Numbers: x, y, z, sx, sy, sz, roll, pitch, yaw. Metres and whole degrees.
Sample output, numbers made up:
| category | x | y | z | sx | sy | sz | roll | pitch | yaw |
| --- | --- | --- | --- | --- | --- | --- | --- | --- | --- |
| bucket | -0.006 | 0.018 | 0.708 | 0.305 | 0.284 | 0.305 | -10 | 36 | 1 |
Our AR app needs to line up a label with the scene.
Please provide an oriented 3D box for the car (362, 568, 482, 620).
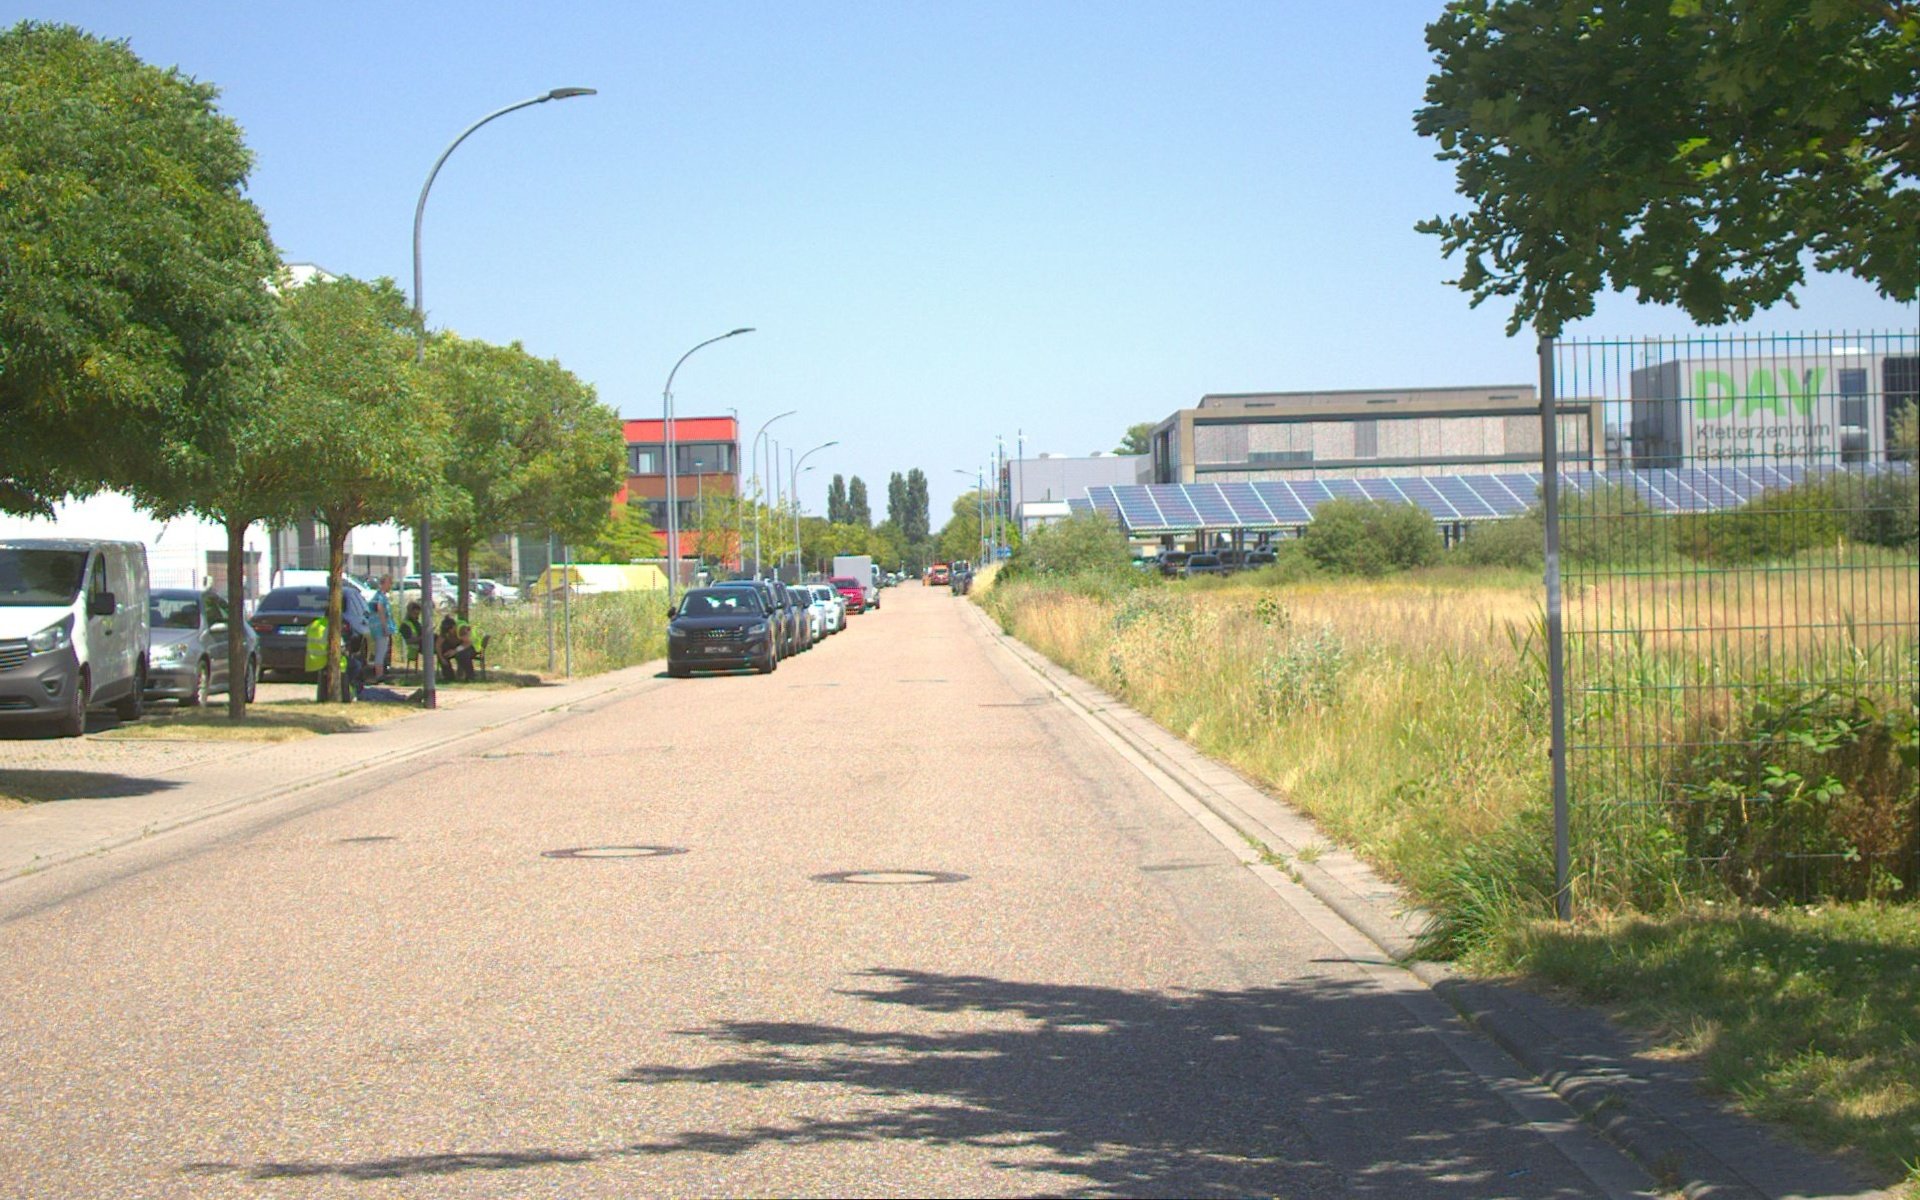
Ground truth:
| category | x | y | z | sx | sy | sz | roll | pitch | yaw |
| --- | --- | --- | --- | --- | --- | --- | --- | --- | --- |
| car | -21.997 | -0.262 | 140.714 | 4.528 | 1.936 | 2.031 | -2 | 0 | 0 |

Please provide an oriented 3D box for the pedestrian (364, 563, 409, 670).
| category | x | y | z | sx | sy | sz | roll | pitch | yaw |
| --- | --- | --- | --- | --- | --- | --- | --- | --- | --- |
| pedestrian | -8.663 | 0.247 | 51.931 | 0.506 | 1.590 | 0.753 | 1 | 0 | 2 |

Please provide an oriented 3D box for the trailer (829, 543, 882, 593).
| category | x | y | z | sx | sy | sz | roll | pitch | yaw |
| --- | --- | --- | --- | --- | --- | --- | --- | --- | --- |
| trailer | -4.673 | -1.428 | 153.882 | 2.201 | 2.130 | 4.286 | -2 | 0 | 0 |

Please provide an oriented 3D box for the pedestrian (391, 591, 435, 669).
| category | x | y | z | sx | sy | sz | roll | pitch | yaw |
| --- | --- | --- | --- | --- | --- | --- | --- | --- | --- |
| pedestrian | -8.500 | 0.462 | 53.430 | 0.506 | 1.187 | 0.753 | 1 | 0 | 2 |

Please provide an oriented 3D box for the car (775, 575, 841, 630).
| category | x | y | z | sx | sy | sz | roll | pitch | yaw |
| --- | --- | --- | --- | --- | --- | --- | --- | --- | --- |
| car | -4.553 | 0.051 | 103.150 | 1.787 | 1.515 | 3.983 | -2 | 1 | 0 |

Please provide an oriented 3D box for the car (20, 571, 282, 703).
| category | x | y | z | sx | sy | sz | roll | pitch | yaw |
| --- | --- | --- | --- | --- | --- | --- | --- | --- | --- |
| car | -9.609 | 0.440 | 41.208 | 1.927 | 1.436 | 4.841 | -2 | -1 | 0 |

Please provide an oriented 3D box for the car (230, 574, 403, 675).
| category | x | y | z | sx | sy | sz | roll | pitch | yaw |
| --- | --- | --- | --- | --- | --- | --- | --- | --- | --- |
| car | -9.970 | 0.350 | 53.603 | 1.926 | 1.459 | 4.692 | 1 | 1 | -2 |

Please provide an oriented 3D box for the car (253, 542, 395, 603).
| category | x | y | z | sx | sy | sz | roll | pitch | yaw |
| --- | --- | --- | --- | --- | --- | --- | --- | --- | --- |
| car | -22.276 | -0.966 | 120.559 | 4.528 | 1.936 | 2.031 | -2 | 0 | 0 |

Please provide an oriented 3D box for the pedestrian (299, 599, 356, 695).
| category | x | y | z | sx | sy | sz | roll | pitch | yaw |
| --- | --- | --- | --- | --- | --- | --- | --- | --- | --- |
| pedestrian | -7.705 | 0.581 | 41.882 | 0.479 | 1.146 | 0.555 | 1 | -2 | 10 |

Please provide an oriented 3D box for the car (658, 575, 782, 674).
| category | x | y | z | sx | sy | sz | roll | pitch | yaw |
| --- | --- | --- | --- | --- | --- | --- | --- | --- | --- |
| car | -4.140 | 0.396 | 59.884 | 1.926 | 1.562 | 4.190 | -2 | 1 | -2 |

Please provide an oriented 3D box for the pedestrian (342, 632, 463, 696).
| category | x | y | z | sx | sy | sz | roll | pitch | yaw |
| --- | --- | --- | --- | --- | --- | --- | --- | --- | --- |
| pedestrian | -6.963 | 0.800 | 42.946 | 1.358 | 0.746 | 0.753 | 1 | 0 | 2 |

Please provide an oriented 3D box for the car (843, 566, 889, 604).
| category | x | y | z | sx | sy | sz | roll | pitch | yaw |
| --- | --- | --- | --- | --- | --- | --- | --- | --- | --- |
| car | -3.877 | -0.632 | 142.437 | 1.787 | 1.515 | 3.982 | -2 | 0 | 0 |

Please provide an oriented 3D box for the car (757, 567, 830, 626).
| category | x | y | z | sx | sy | sz | roll | pitch | yaw |
| --- | --- | --- | --- | --- | --- | --- | --- | --- | --- |
| car | -4.451 | -0.112 | 92.125 | 1.787 | 1.515 | 3.983 | 0 | 1 | 0 |

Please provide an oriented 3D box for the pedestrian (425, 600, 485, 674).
| category | x | y | z | sx | sy | sz | roll | pitch | yaw |
| --- | --- | --- | --- | --- | --- | --- | --- | --- | --- |
| pedestrian | -7.640 | 0.551 | 52.021 | 0.750 | 1.095 | 0.646 | 1 | 0 | 4 |

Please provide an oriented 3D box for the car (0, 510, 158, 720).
| category | x | y | z | sx | sy | sz | roll | pitch | yaw |
| --- | --- | --- | --- | --- | --- | --- | --- | --- | --- |
| car | -9.703 | 0.119 | 35.514 | 1.837 | 2.012 | 5.126 | 0 | 1 | -3 |
